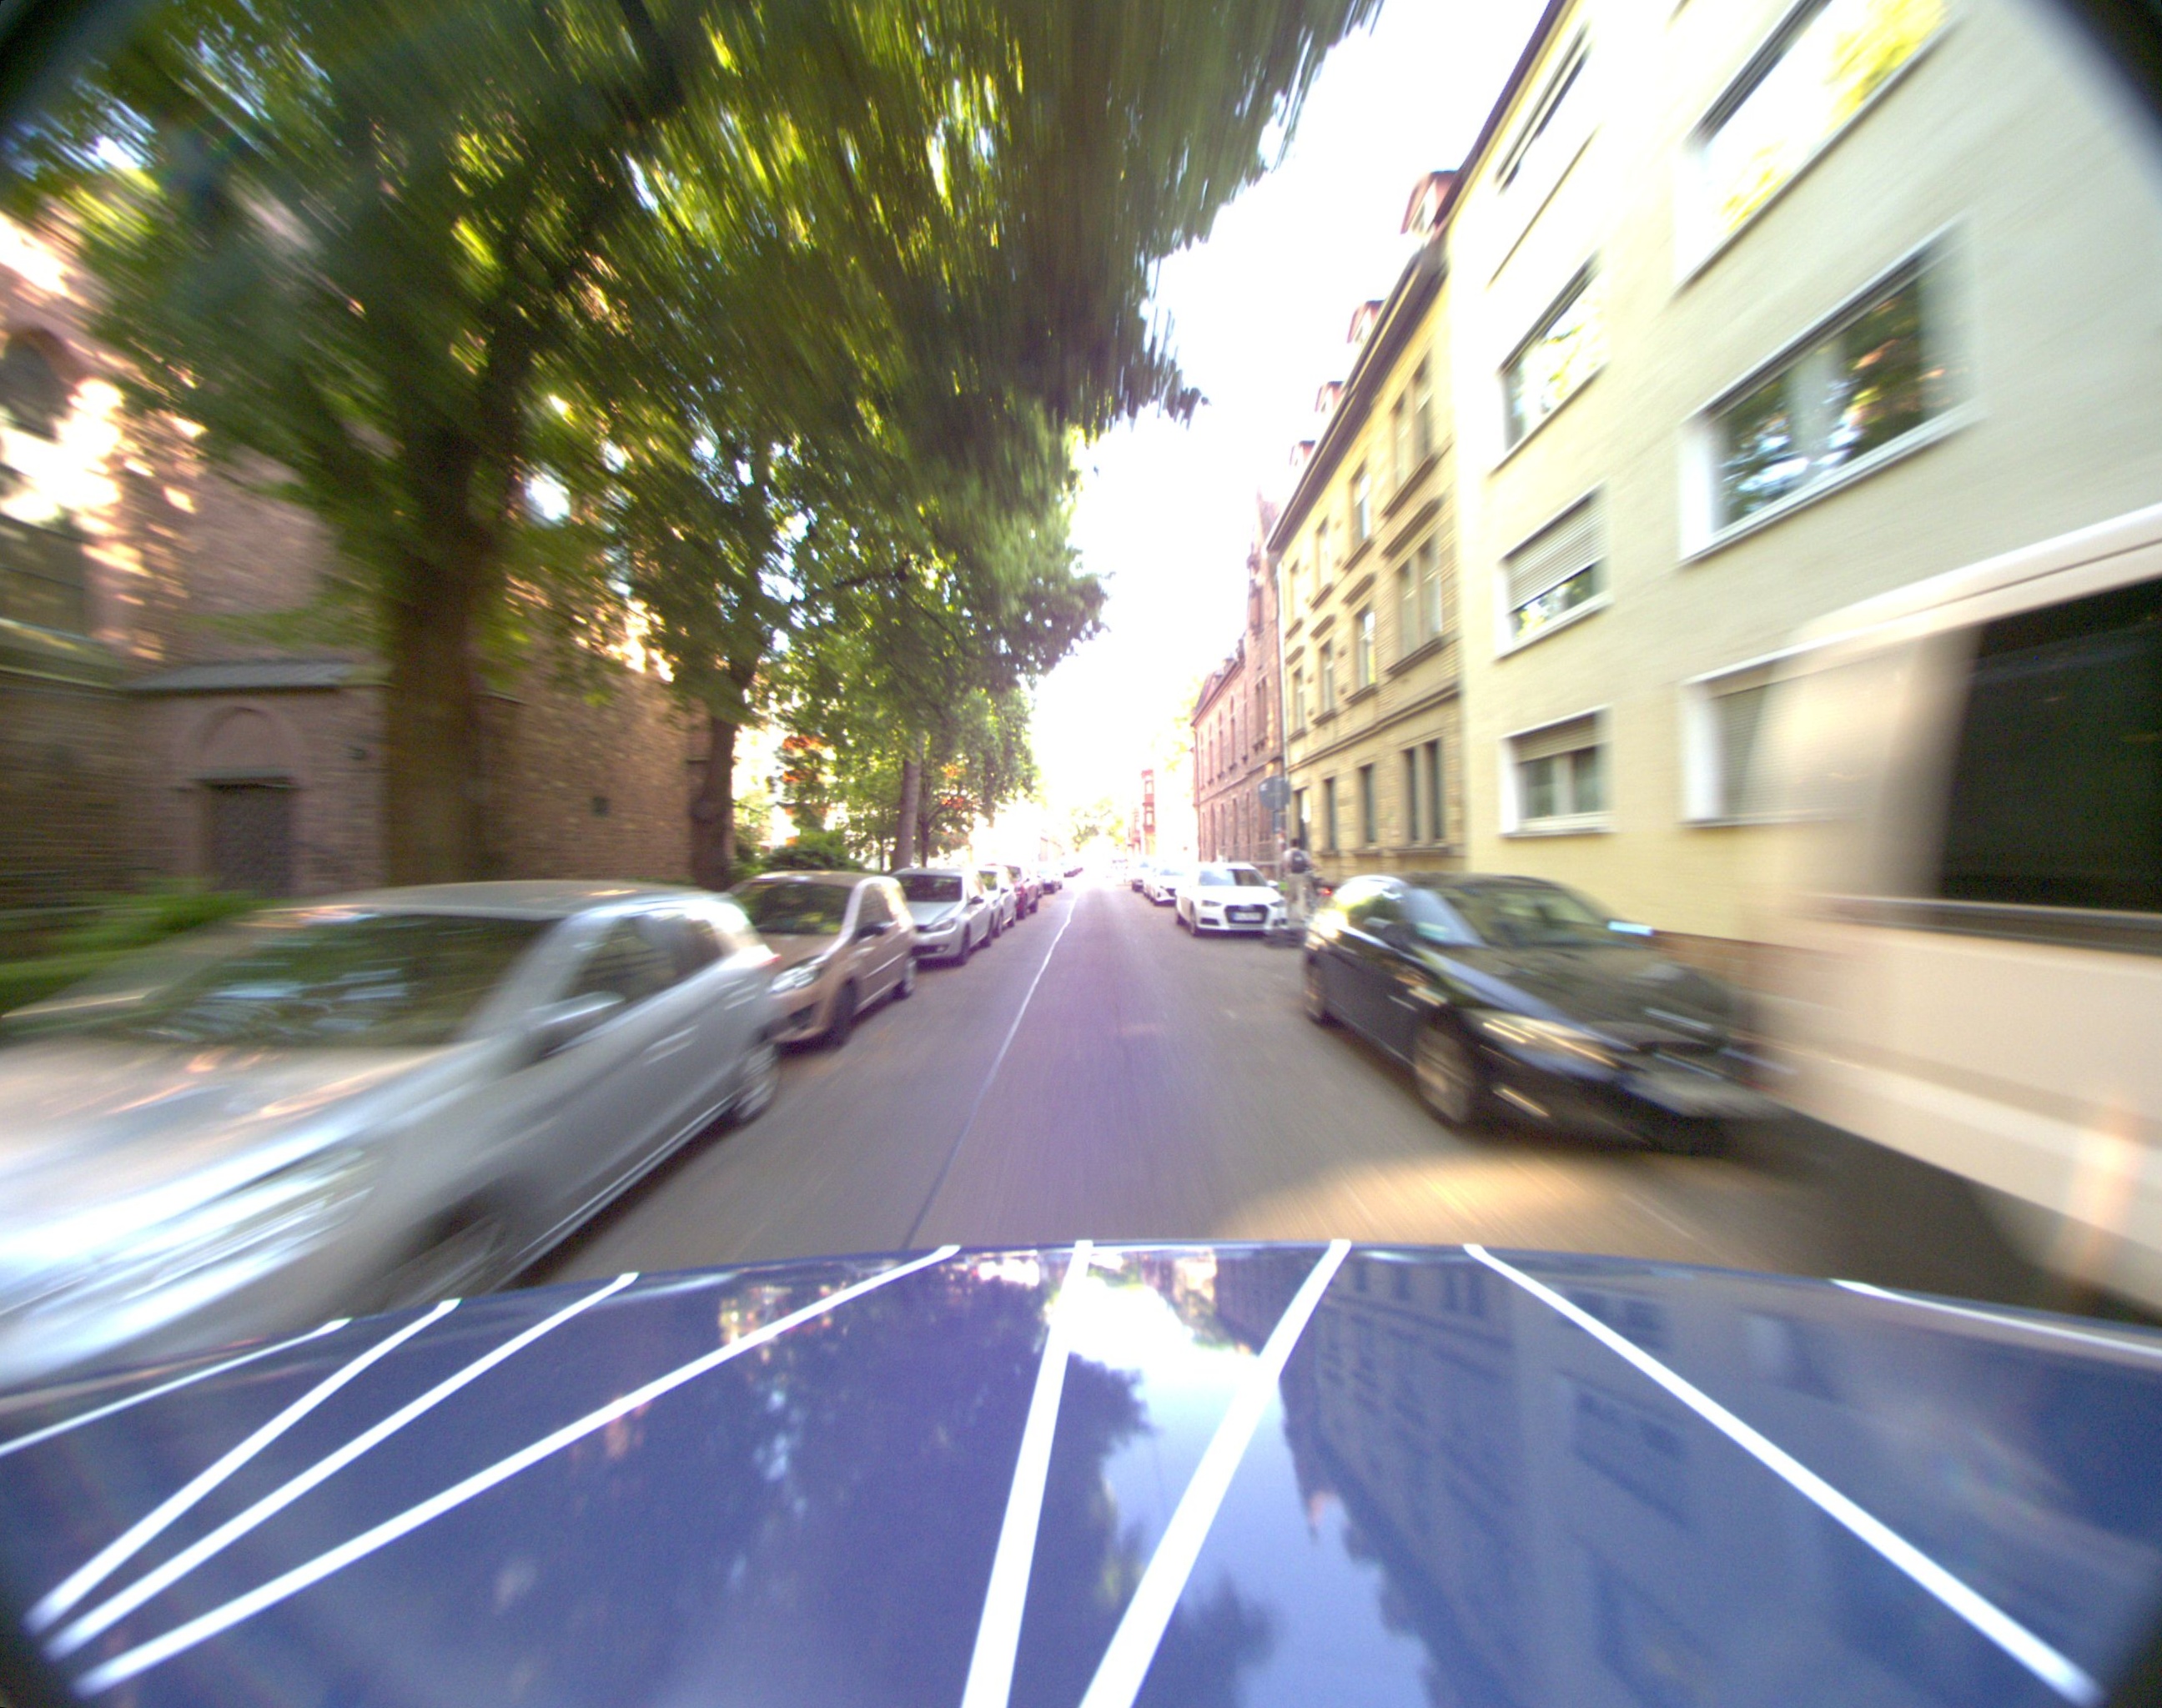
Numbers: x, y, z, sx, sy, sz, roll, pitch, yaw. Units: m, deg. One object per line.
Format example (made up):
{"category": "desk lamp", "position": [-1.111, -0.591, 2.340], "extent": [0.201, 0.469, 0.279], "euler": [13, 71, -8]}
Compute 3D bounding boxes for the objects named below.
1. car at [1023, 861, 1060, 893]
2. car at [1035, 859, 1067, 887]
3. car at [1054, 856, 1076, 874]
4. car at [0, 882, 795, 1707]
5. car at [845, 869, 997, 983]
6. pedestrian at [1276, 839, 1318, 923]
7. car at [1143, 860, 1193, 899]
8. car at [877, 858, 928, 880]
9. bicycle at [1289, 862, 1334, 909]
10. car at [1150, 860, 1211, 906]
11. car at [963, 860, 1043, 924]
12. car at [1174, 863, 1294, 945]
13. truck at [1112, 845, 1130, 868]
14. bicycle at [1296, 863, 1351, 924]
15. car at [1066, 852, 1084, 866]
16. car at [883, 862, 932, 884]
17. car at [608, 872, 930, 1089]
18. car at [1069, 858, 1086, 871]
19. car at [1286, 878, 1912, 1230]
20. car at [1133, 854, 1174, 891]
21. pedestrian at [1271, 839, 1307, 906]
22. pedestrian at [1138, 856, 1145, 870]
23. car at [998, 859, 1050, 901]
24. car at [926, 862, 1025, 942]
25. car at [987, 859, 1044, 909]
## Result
{"category": "car", "position": [-1.926, 1.131, 37.975], "extent": [1.625, 1.428, 4.002], "euler": [0, 1, 0]}
{"category": "car", "position": [-1.681, 1.057, 43.560], "extent": [1.713, 1.511, 3.831], "euler": [0, 1, 0]}
{"category": "car", "position": [-1.507, 1.025, 72.144], "extent": [1.845, 1.643, 4.000], "euler": [-1, 0, 1]}
{"category": "car", "position": [-2.680, 0.988, 3.082], "extent": [1.603, 1.496, 3.627], "euler": [3, 1, 0]}
{"category": "car", "position": [-2.481, 1.056, 12.660], "extent": [1.603, 1.462, 3.869], "euler": [1, 1, 2]}
{"category": "pedestrian", "position": [4.813, 0.593, 16.997], "extent": [0.489, 1.792, 1.115], "euler": [-4, 0, 0]}
{"category": "car", "position": [3.501, 0.996, 31.099], "extent": [1.713, 1.409, 3.803], "euler": [0, 1, 2]}
{"category": "car", "position": [-14.465, 1.192, 61.745], "extent": [3.695, 1.550, 1.649], "euler": [-2, 3, 0]}
{"category": "bicycle", "position": [6.183, 0.814, 20.481], "extent": [0.572, 1.141, 1.844], "euler": [-5, 0, 0]}
{"category": "car", "position": [3.368, 0.945, 26.290], "extent": [1.713, 1.409, 3.803], "euler": [0, 1, 2]}
{"category": "car", "position": [-2.192, 1.037, 22.429], "extent": [1.668, 1.577, 4.101], "euler": [3, 1, 3]}
{"category": "car", "position": [3.075, 0.942, 16.204], "extent": [1.735, 1.447, 4.521], "euler": [0, 0, 1]}
{"category": "truck", "position": [4.769, 0.340, 91.554], "extent": [1.971, 2.643, 5.885], "euler": [-1, 0, 1]}
{"category": "bicycle", "position": [5.375, 0.840, 16.948], "extent": [0.572, 1.236, 1.844], "euler": [-5, 0, 0]}
{"category": "car", "position": [-0.782, 0.612, 98.879], "extent": [1.998, 1.659, 4.001], "euler": [-2, 0, 3]}
{"category": "car", "position": [-12.231, 1.301, 53.394], "extent": [1.785, 1.423, 4.404], "euler": [-3, 1, -34]}
{"category": "car", "position": [-2.756, 1.017, 7.610], "extent": [1.603, 1.459, 3.563], "euler": [3, 1, 2]}
{"category": "car", "position": [-0.459, 1.385, 104.249], "extent": [1.998, 1.659, 4.001], "euler": [-2, 0, 3]}
{"category": "car", "position": [2.838, 0.942, 5.495], "extent": [1.735, 1.394, 4.316], "euler": [0, 0, 3]}
{"category": "car", "position": [3.495, 0.864, 37.159], "extent": [1.713, 1.664, 4.278], "euler": [0, 1, 2]}
{"category": "pedestrian", "position": [6.167, 0.536, 22.536], "extent": [0.768, 1.917, 0.763], "euler": [-2, 0, -2]}
{"category": "pedestrian", "position": [7.160, 1.042, 89.554], "extent": [0.670, 1.585, 0.597], "euler": [-2, 0, -2]}
{"category": "car", "position": [-2.368, 1.046, 32.435], "extent": [1.668, 1.511, 4.060], "euler": [3, 1, 2]}
{"category": "car", "position": [-2.328, 1.021, 17.598], "extent": [1.603, 1.496, 3.720], "euler": [3, 1, 2]}
{"category": "car", "position": [-2.292, 1.019, 27.345], "extent": [1.668, 1.511, 3.951], "euler": [3, 1, -1]}
